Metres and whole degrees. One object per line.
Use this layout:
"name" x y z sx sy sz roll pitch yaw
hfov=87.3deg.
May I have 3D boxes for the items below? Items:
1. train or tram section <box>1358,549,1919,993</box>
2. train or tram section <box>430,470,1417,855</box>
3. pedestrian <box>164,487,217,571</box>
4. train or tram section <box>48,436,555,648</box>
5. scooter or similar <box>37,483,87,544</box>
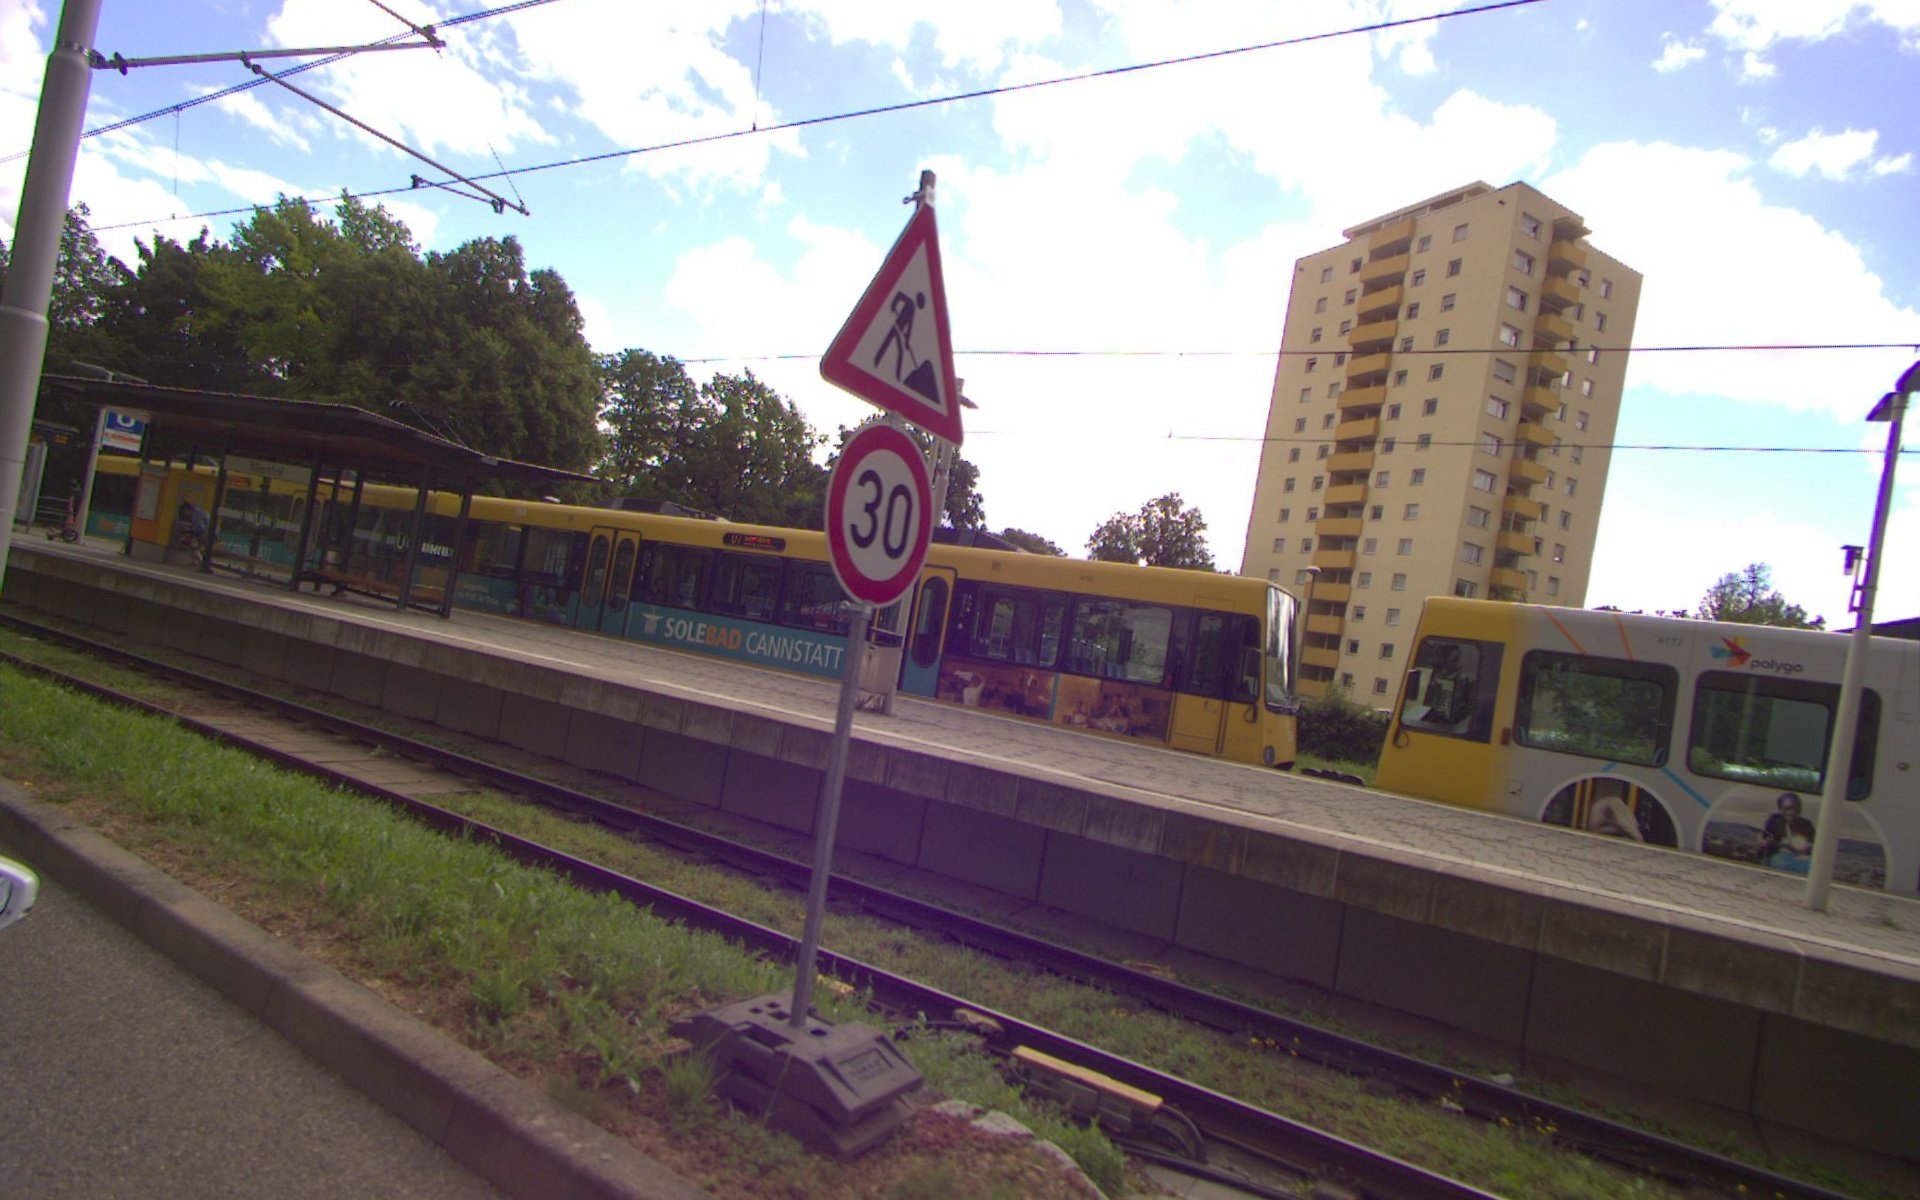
"train or tram section" 13.631 2.500 8.455 18.624 3.839 2.821 8 -3 33
"train or tram section" -2.374 0.341 18.509 19.180 3.776 2.823 8 -3 30
"pedestrian" -15.636 -1.447 20.441 0.621 1.591 0.657 9 -2 -43
"train or tram section" -19.162 -1.975 27.994 19.177 3.627 2.823 8 -3 29
"scooter or similar" -20.509 -1.985 22.979 1.126 1.256 0.369 8 -1 29
